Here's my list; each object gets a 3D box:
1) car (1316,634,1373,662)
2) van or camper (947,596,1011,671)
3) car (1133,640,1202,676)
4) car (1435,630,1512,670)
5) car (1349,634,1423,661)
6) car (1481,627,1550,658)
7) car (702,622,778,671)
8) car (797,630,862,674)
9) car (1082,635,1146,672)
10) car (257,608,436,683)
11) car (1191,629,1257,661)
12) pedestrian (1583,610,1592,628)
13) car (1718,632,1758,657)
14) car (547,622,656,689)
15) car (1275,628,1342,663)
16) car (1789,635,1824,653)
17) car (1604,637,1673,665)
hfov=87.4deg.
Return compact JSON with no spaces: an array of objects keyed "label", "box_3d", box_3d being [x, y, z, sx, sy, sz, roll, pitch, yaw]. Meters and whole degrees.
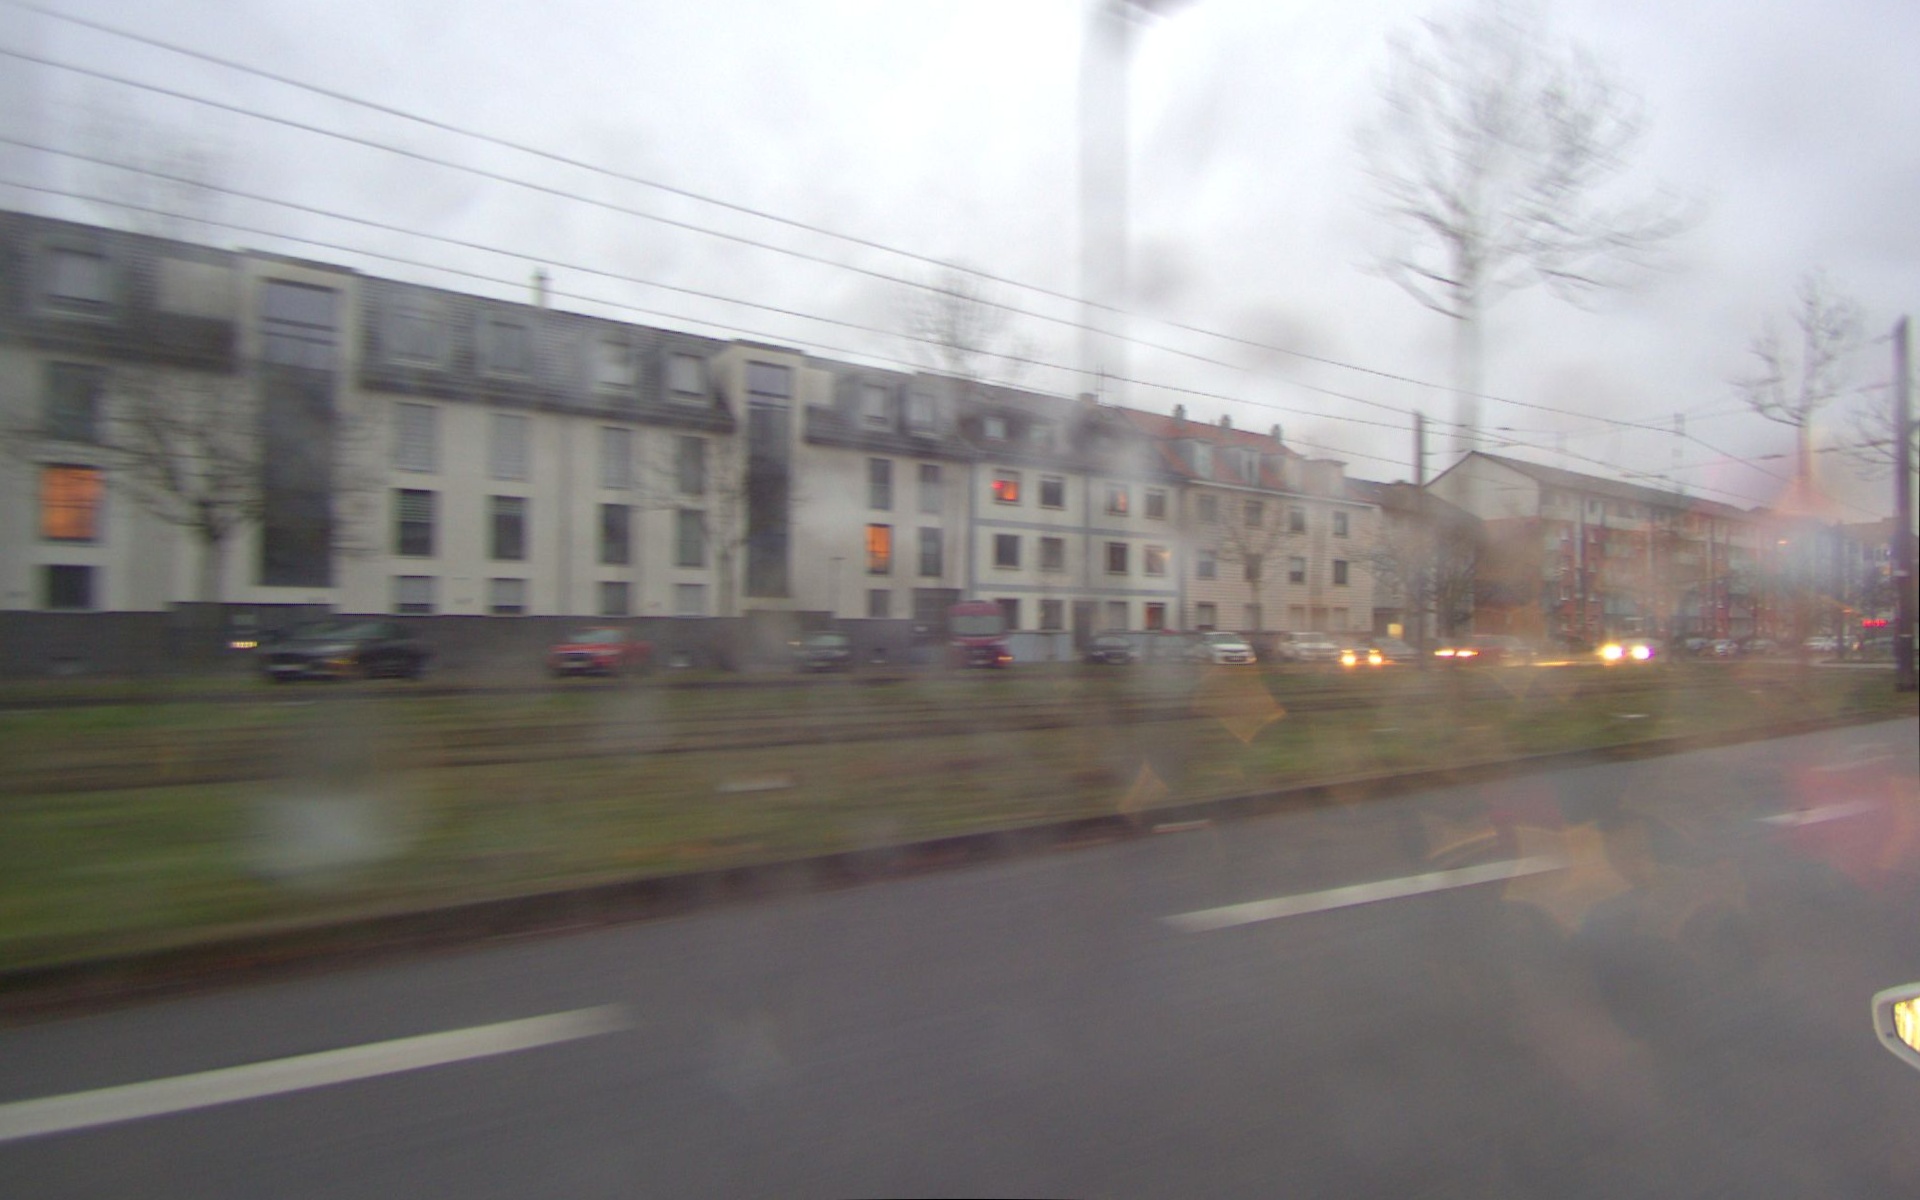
[{"label":"car","box_3d":[18.570,2.296,48.596,1.370,1.162,3.043,2,0,-4]},{"label":"van or camper","box_3d":[0.583,1.100,36.383,1.961,2.391,6.879,2,0,-2]},{"label":"car","box_3d":[8.363,2.331,40.738,1.846,1.216,3.538,2,0,-4]},{"label":"car","box_3d":[22.834,2.206,44.621,3.475,1.645,1.602,2,0,-36]},{"label":"car","box_3d":[21.291,2.364,50.411,1.649,1.131,4.186,2,0,-4]},{"label":"car","box_3d":[31.992,2.417,57.961,1.709,1.576,3.797,2,0,-3]},{"label":"car","box_3d":[-6.755,1.395,31.046,1.360,1.320,3.098,2,0,6]},{"label":"car","box_3d":[-4.052,1.599,31.521,1.360,1.220,2.889,2,0,6]},{"label":"car","box_3d":[6.009,2.077,39.523,1.714,1.228,3.538,2,0,-4]},{"label":"car","box_3d":[-14.506,1.015,24.052,1.637,1.561,4.163,2,0,1]},{"label":"car","box_3d":[11.126,1.880,42.541,1.659,1.162,3.417,2,0,-4]},{"label":"pedestrian","box_3d":[42.957,1.293,68.754,0.339,1.200,0.434,2,0,14]},{"label":"car","box_3d":[68.702,3.916,88.703,3.967,2.040,1.977,2,0,-40]},{"label":"car","box_3d":[-9.797,1.473,27.763,1.708,1.610,3.848,2,0,-2]},{"label":"car","box_3d":[16.191,2.089,46.812,1.737,1.397,4.125,2,0,1]},{"label":"car","box_3d":[81.963,4.222,97.219,3.695,1.618,1.916,2,0,-39]},{"label":"car","box_3d":[39.764,2.965,58.851,4.745,1.522,1.866,2,0,-37]}]
